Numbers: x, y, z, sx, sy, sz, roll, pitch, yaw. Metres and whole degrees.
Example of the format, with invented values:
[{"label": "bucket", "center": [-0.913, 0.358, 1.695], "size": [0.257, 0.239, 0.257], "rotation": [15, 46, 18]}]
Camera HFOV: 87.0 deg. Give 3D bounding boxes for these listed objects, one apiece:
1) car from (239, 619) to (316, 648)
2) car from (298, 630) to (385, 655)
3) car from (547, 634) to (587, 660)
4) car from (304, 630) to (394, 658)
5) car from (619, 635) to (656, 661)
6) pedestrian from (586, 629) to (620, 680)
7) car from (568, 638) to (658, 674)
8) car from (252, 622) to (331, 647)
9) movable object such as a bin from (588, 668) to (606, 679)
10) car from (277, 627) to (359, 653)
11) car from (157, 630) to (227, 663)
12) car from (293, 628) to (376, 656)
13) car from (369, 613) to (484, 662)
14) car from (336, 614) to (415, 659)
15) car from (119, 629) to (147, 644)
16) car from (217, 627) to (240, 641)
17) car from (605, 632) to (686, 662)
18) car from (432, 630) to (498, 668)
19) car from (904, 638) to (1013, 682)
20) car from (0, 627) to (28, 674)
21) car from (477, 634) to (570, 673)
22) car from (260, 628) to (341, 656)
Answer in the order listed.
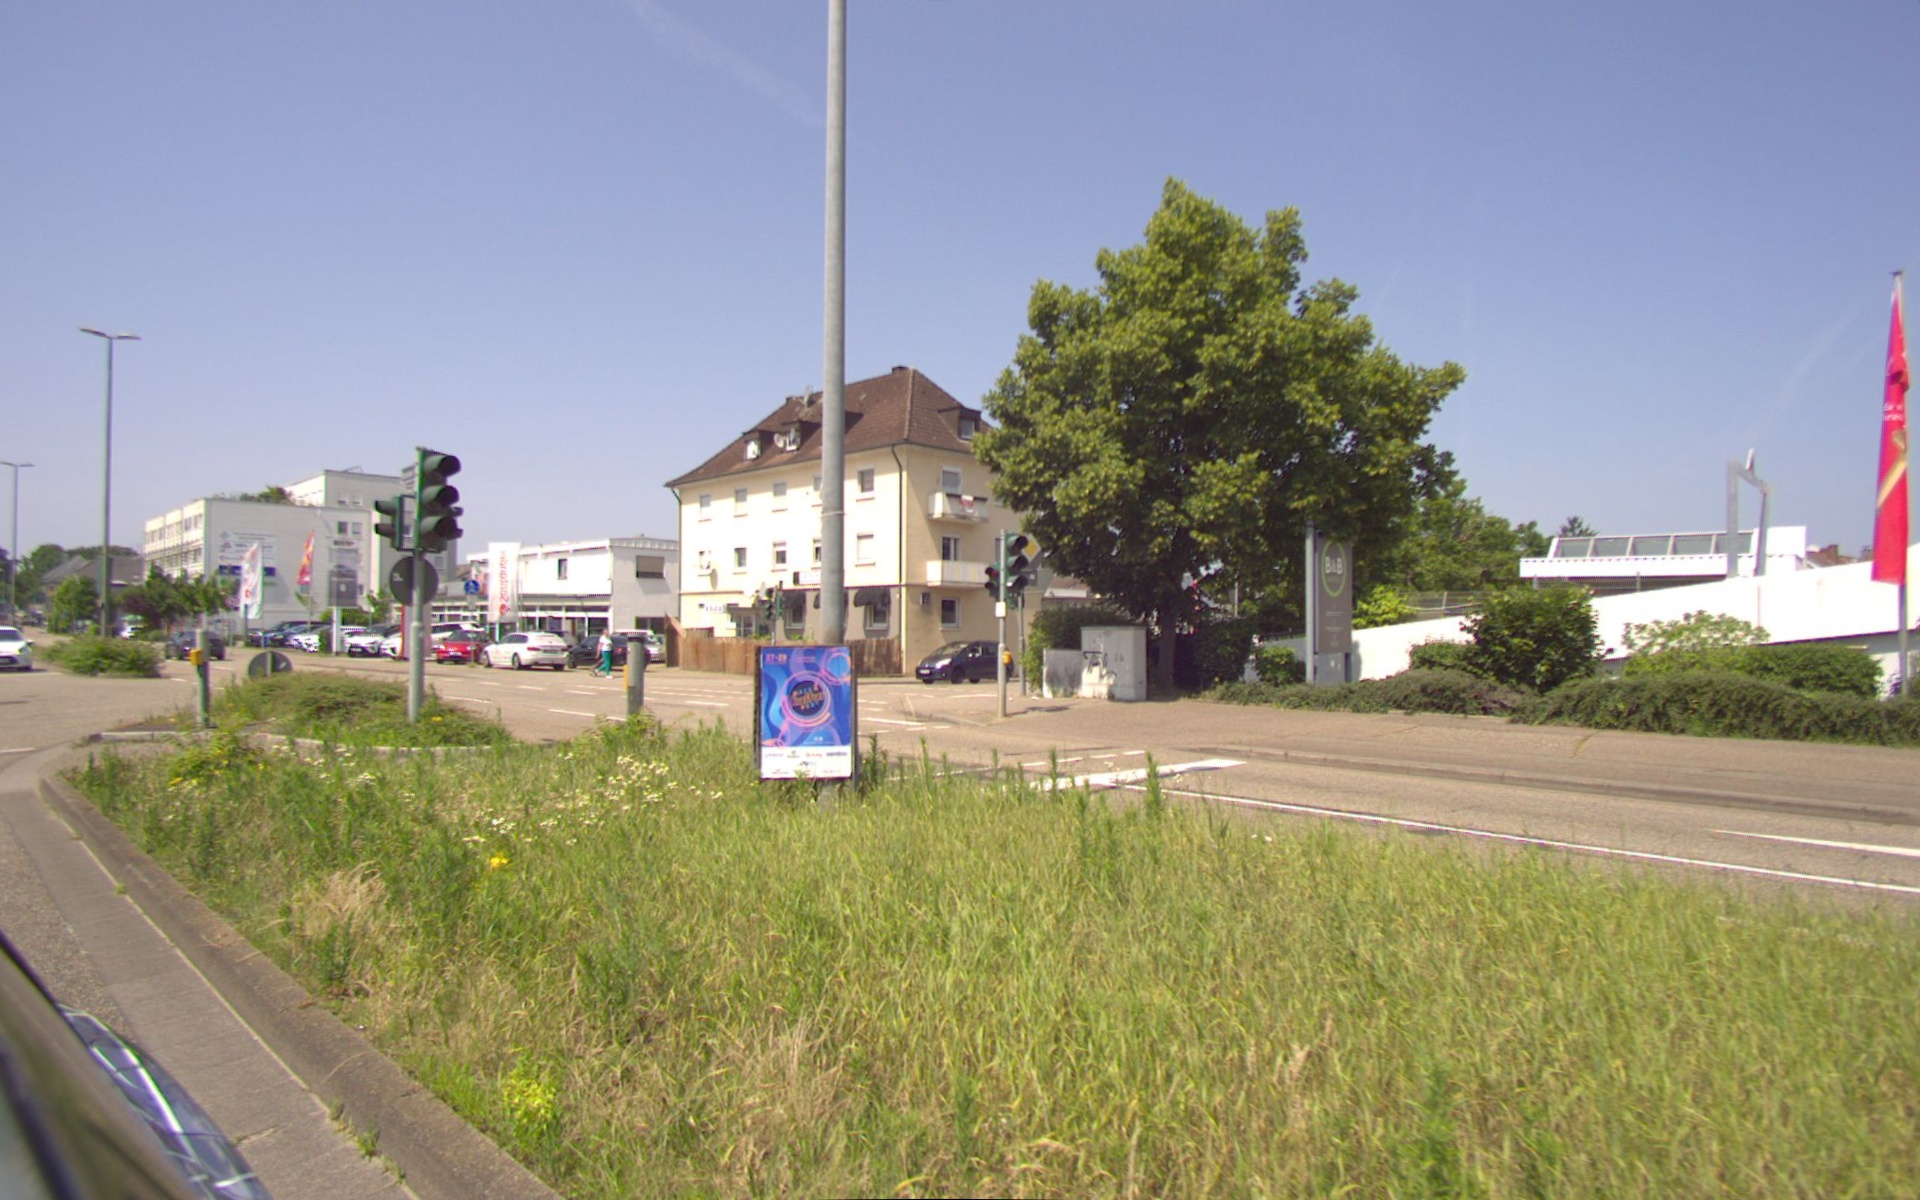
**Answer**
[{"label": "car", "center": [-46.304, 2.249, 68.720], "size": [1.999, 1.896, 3.944], "rotation": [-1, -2, 42]}, {"label": "car", "center": [-35.822, 2.450, 58.685], "size": [1.860, 1.405, 3.944], "rotation": [-1, -2, 42]}, {"label": "car", "center": [-20.413, 2.401, 52.441], "size": [1.622, 1.261, 4.013], "rotation": [1, -2, -25]}, {"label": "car", "center": [-34.194, 2.431, 56.687], "size": [1.759, 1.478, 3.944], "rotation": [-1, -2, 42]}, {"label": "car", "center": [-16.811, 2.492, 52.599], "size": [1.622, 1.261, 4.013], "rotation": [1, -2, -20]}, {"label": "pedestrian", "center": [-12.653, 1.915, 35.869], "size": [0.732, 1.760, 1.034], "rotation": [2, -2, -44]}, {"label": "car", "center": [-14.293, 2.273, 41.585], "size": [3.998, 1.361, 1.714], "rotation": [-1, -2, 41]}, {"label": "car", "center": [-44.381, 2.319, 67.208], "size": [2.089, 1.621, 3.944], "rotation": [-1, -3, 42]}, {"label": "movable object such as a bin", "center": [-12.914, 2.613, 36.018], "size": [0.507, 0.375, 0.412], "rotation": [-1, -2, 45]}, {"label": "car", "center": [-39.694, 2.463, 62.656], "size": [1.759, 1.580, 3.944], "rotation": [-2, -3, 42]}, {"label": "car", "center": [-37.250, 2.238, 49.071], "size": [4.502, 1.497, 1.971], "rotation": [-1, -2, 43]}, {"label": "car", "center": [-37.640, 2.511, 60.962], "size": [3.941, 1.621, 1.927], "rotation": [2, -2, -45]}, {"label": "car", "center": [-26.026, 1.780, 49.473], "size": [1.760, 1.721, 4.501], "rotation": [-1, 6, 42]}, {"label": "car", "center": [-31.874, 1.942, 55.319], "size": [1.736, 1.634, 4.001], "rotation": [0, 10, 3]}, {"label": "car", "center": [-84.275, 3.739, 103.099], "size": [3.665, 1.460, 1.673], "rotation": [-1, -1, 42]}, {"label": "car", "center": [-71.253, 3.312, 98.600], "size": [1.436, 1.350, 2.835], "rotation": [2, -2, -44]}, {"label": "car", "center": [-17.802, 2.614, 57.399], "size": [1.866, 1.627, 3.943], "rotation": [-1, -2, 43]}, {"label": "car", "center": [-22.772, 2.204, 46.705], "size": [1.809, 1.655, 4.188], "rotation": [1, -2, -12]}, {"label": "car", "center": [-0.030, 2.275, 39.029], "size": [3.938, 1.624, 1.871], "rotation": [2, -3, -42]}, {"label": "car", "center": [-31.155, 1.607, 32.416], "size": [3.712, 1.445, 1.670], "rotation": [-1, -2, 44]}, {"label": "car", "center": [-17.272, 2.072, 39.922], "size": [1.755, 1.421, 4.762], "rotation": [4, -4, -44]}, {"label": "car", "center": [-42.101, 2.700, 64.684], "size": [1.759, 1.621, 3.944], "rotation": [-1, -5, 42]}]
